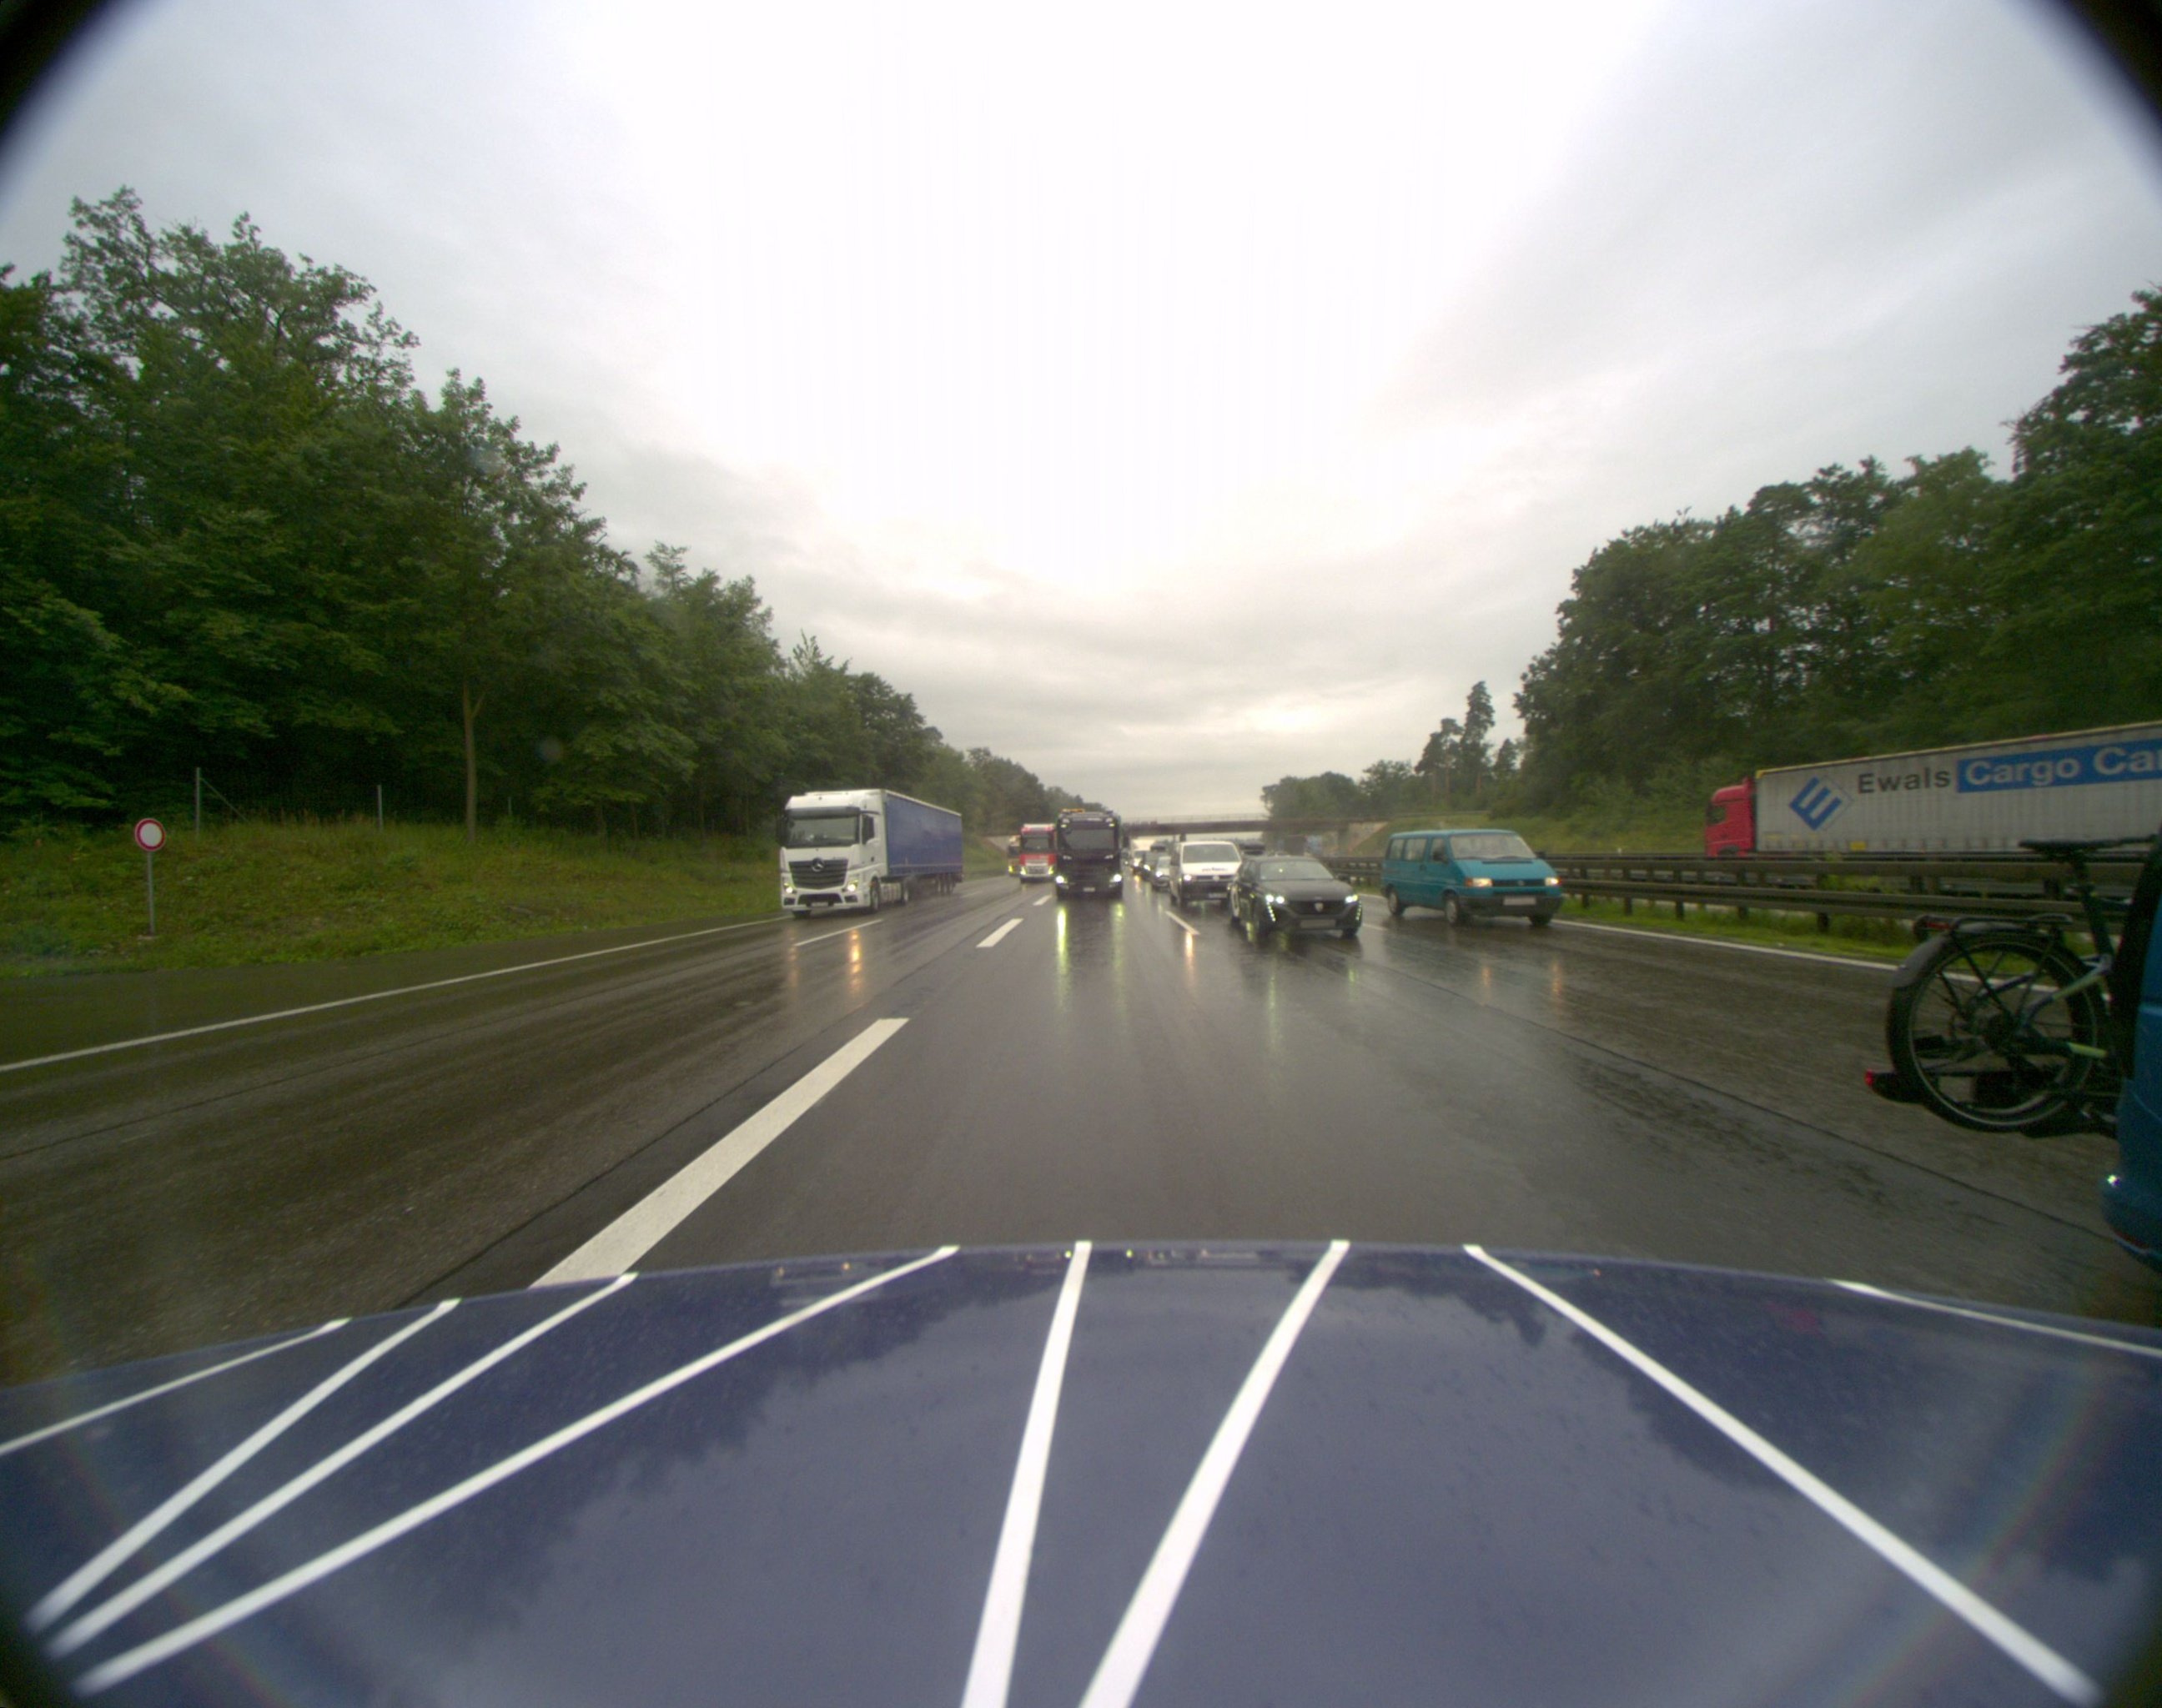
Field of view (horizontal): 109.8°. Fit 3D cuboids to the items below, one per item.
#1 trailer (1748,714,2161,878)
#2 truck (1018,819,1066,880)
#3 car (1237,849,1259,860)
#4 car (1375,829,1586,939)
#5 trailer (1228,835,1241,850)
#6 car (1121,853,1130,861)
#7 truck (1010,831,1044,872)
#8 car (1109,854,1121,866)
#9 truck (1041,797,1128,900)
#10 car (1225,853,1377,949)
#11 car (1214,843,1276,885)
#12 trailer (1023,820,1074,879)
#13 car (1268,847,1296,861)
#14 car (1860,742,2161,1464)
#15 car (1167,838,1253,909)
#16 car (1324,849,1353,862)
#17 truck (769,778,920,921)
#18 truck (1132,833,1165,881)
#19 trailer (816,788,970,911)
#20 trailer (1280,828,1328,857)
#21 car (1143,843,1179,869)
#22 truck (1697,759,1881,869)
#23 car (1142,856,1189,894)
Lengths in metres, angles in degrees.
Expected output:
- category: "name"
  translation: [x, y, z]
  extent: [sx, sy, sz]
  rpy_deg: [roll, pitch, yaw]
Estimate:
- category: "trailer"
  translation: [27.386, -1.415, 22.834]
  extent: [2.726, 3.931, 13.960]
  rpy_deg: [0, 0, 1]
- category: "truck"
  translation: [-2.606, -0.305, 52.431]
  extent: [2.607, 3.934, 5.601]
  rpy_deg: [-2, 0, 3]
- category: "car"
  translation: [23.544, 0.051, 107.003]
  extent: [1.999, 1.498, 4.707]
  rpy_deg: [-1, 0, -1]
- category: "car"
  translation: [7.911, 0.509, 15.671]
  extent: [1.915, 1.852, 4.759]
  rpy_deg: [-2, 0, 2]
- category: "trailer"
  translation: [40.716, -2.971, 201.301]
  extent: [2.688, 3.795, 9.011]
  rpy_deg: [-2, 0, 7]
- category: "car"
  translation: [10.070, 0.643, 170.672]
  extent: [1.864, 1.554, 4.436]
  rpy_deg: [-2, 0, 1]
- category: "truck"
  translation: [-5.511, -0.267, 79.707]
  extent: [2.608, 3.934, 9.939]
  rpy_deg: [-2, 0, 1]
- category: "car"
  translation: [6.073, 1.062, 135.529]
  extent: [1.998, 2.002, 4.000]
  rpy_deg: [-2, 0, 2]
- category: "truck"
  translation: [0.473, -0.247, 32.146]
  extent: [2.879, 3.528, 10.913]
  rpy_deg: [-2, 1, 4]
- category: "car"
  translation: [4.013, 0.763, 14.646]
  extent: [1.850, 1.496, 4.467]
  rpy_deg: [-2, 0, 3]
- category: "car"
  translation: [7.843, 0.452, 36.736]
  extent: [1.982, 1.814, 4.606]
  rpy_deg: [-2, 0, 0]
- category: "trailer"
  translation: [-2.303, -0.348, 59.419]
  extent: [2.607, 3.934, 14.583]
  rpy_deg: [-2, 0, 2]
- category: "car"
  translation: [22.597, -0.038, 85.601]
  extent: [1.998, 1.498, 4.707]
  rpy_deg: [-1, 0, 1]
- category: "car"
  translation: [3.882, 0.617, 0.207]
  extent: [2.275, 1.900, 5.016]
  rpy_deg: [-2, 0, 2]
- category: "car"
  translation: [3.750, 0.527, 22.962]
  extent: [1.994, 1.869, 4.768]
  rpy_deg: [-2, 0, 3]
- category: "car"
  translation: [26.114, 0.155, 77.043]
  extent: [1.705, 1.297, 3.757]
  rpy_deg: [-2, 0, 1]
- category: "truck"
  translation: [-7.485, -0.147, 24.973]
  extent: [2.607, 3.990, 6.013]
  rpy_deg: [-3, 0, 2]
- category: "truck"
  translation: [5.972, 0.245, 68.068]
  extent: [2.520, 3.941, 6.996]
  rpy_deg: [-2, 0, 3]
- category: "trailer"
  translation: [-7.193, -0.184, 31.901]
  extent: [2.560, 3.990, 13.714]
  rpy_deg: [-2, 0, 2]
- category: "trailer"
  translation: [31.484, -1.497, 107.996]
  extent: [3.032, 3.795, 13.561]
  rpy_deg: [-2, 0, 1]
- category: "car"
  translation: [5.123, 0.105, 49.294]
  extent: [1.994, 1.551, 4.768]
  rpy_deg: [-2, 0, 3]
- category: "truck"
  translation: [27.538, -1.453, 29.877]
  extent: [2.710, 3.931, 4.891]
  rpy_deg: [-1, 1, 1]
- category: "car"
  translation: [3.730, 0.879, 34.109]
  extent: [1.850, 1.496, 4.467]
  rpy_deg: [-2, 0, 3]
